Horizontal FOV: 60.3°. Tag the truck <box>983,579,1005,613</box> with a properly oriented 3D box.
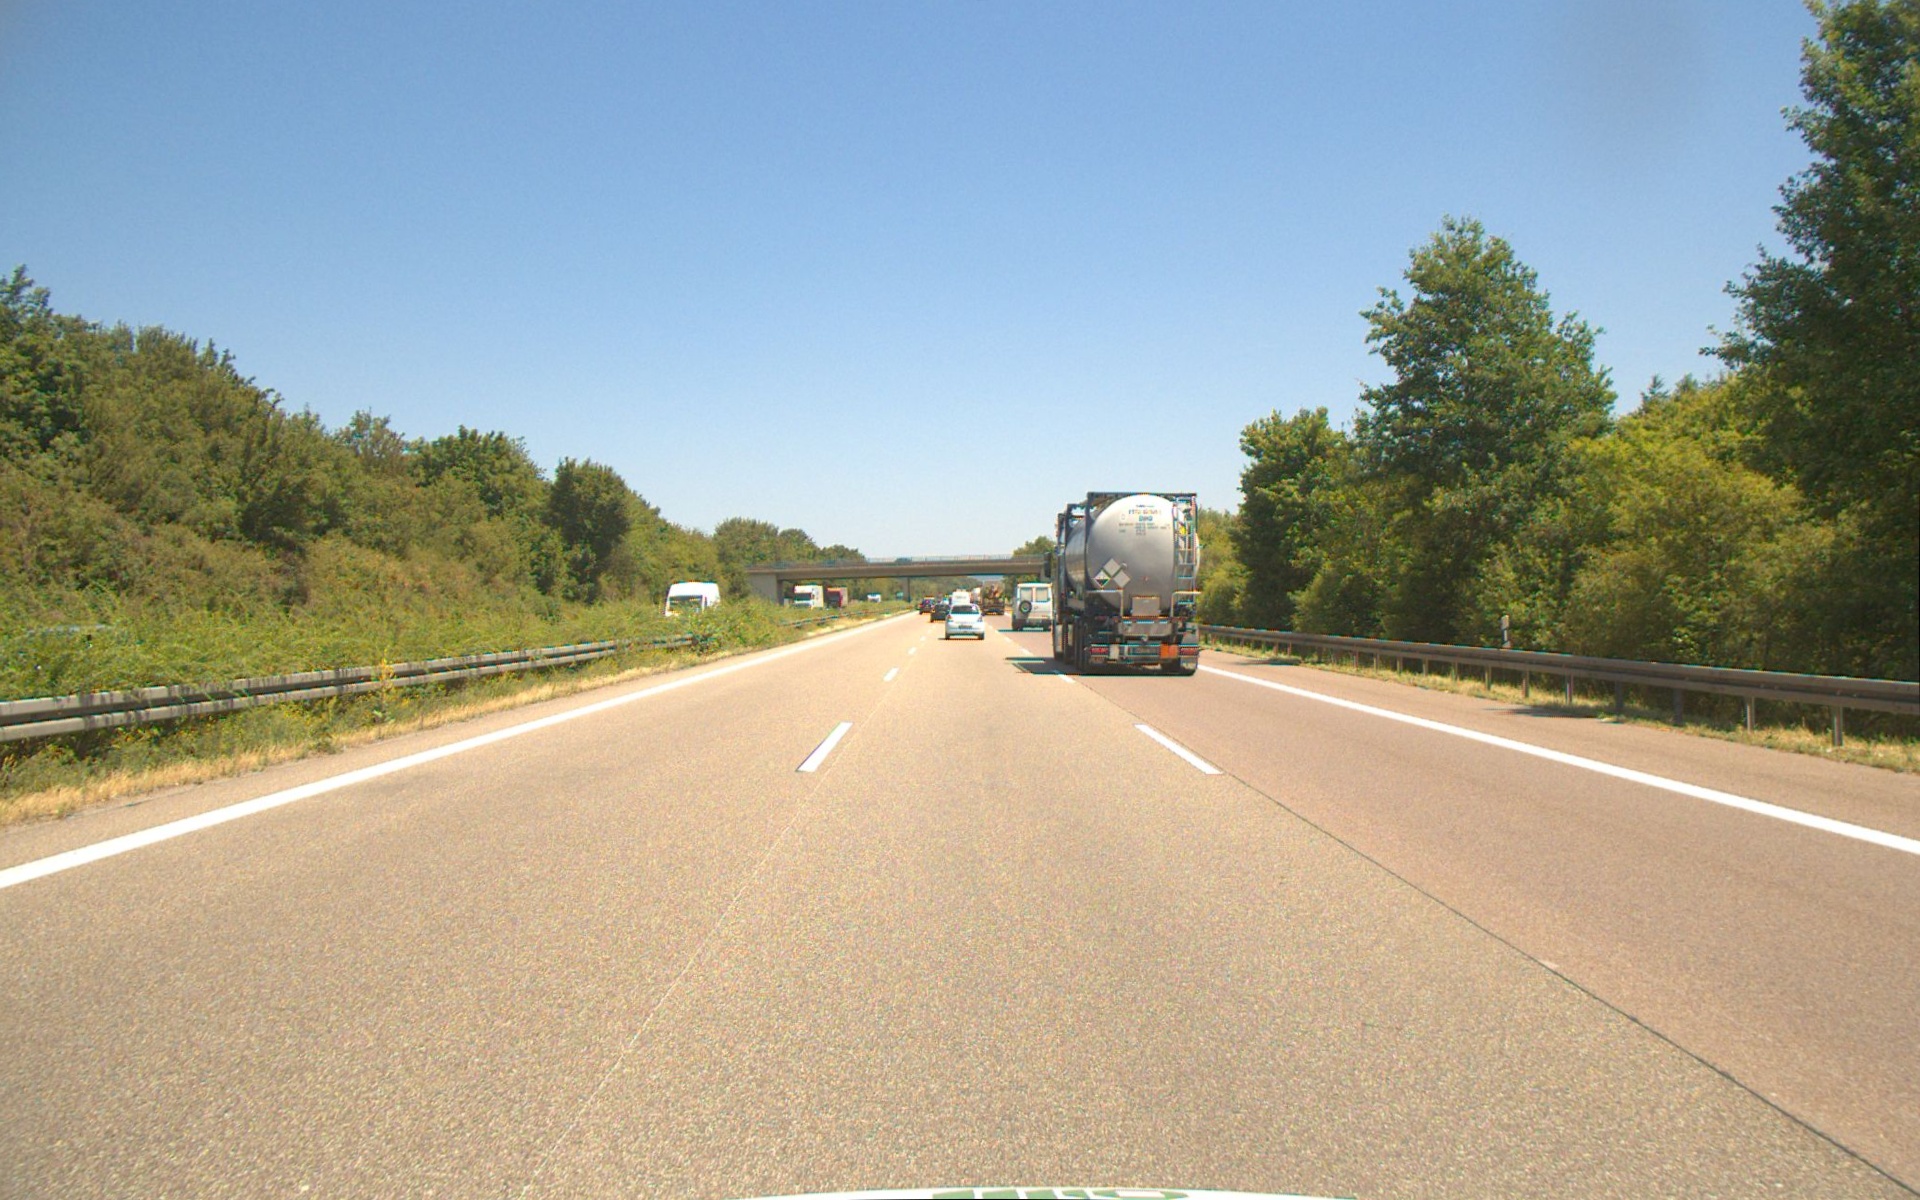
[{"bbox_3d":[4.102,-0.485,201.219,2.615,4.064,6.636,0,0,1],"label":"truck"}]

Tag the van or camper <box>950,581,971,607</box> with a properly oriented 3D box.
[{"bbox_3d":[0.081,-0.607,170.152,2.016,2.668,5.985,0,0,1],"label":"van or camper"}]

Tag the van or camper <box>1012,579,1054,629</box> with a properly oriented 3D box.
[{"bbox_3d":[4.103,0.247,94.309,2.070,2.750,6.366,0,0,0],"label":"van or camper"}]

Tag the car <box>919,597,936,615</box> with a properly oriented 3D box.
[{"bbox_3d":[-3.766,0.695,192.136,2.010,2.049,4.175,1,0,-1],"label":"car"}]

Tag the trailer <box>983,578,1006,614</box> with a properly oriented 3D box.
[{"bbox_3d":[3.985,-0.436,193.957,2.598,4.028,13.637,0,0,1],"label":"trailer"}]

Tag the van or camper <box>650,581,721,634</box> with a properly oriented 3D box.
[{"bbox_3d":[-13.120,0.374,79.427,2.376,2.407,6.335,1,0,-1],"label":"van or camper"}]

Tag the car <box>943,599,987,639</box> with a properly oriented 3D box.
[{"bbox_3d":[0.185,0.808,71.489,1.819,1.681,3.999,1,0,-1],"label":"car"}]

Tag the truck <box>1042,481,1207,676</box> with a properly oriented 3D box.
[{"bbox_3d":[3.869,-0.432,42.177,2.741,4.117,13.353,1,0,0],"label":"truck"}]

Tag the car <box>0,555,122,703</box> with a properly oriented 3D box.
[{"bbox_3d":[-14.201,0.411,23.596,1.953,2.038,5.043,-1,0,-1],"label":"car"}]
